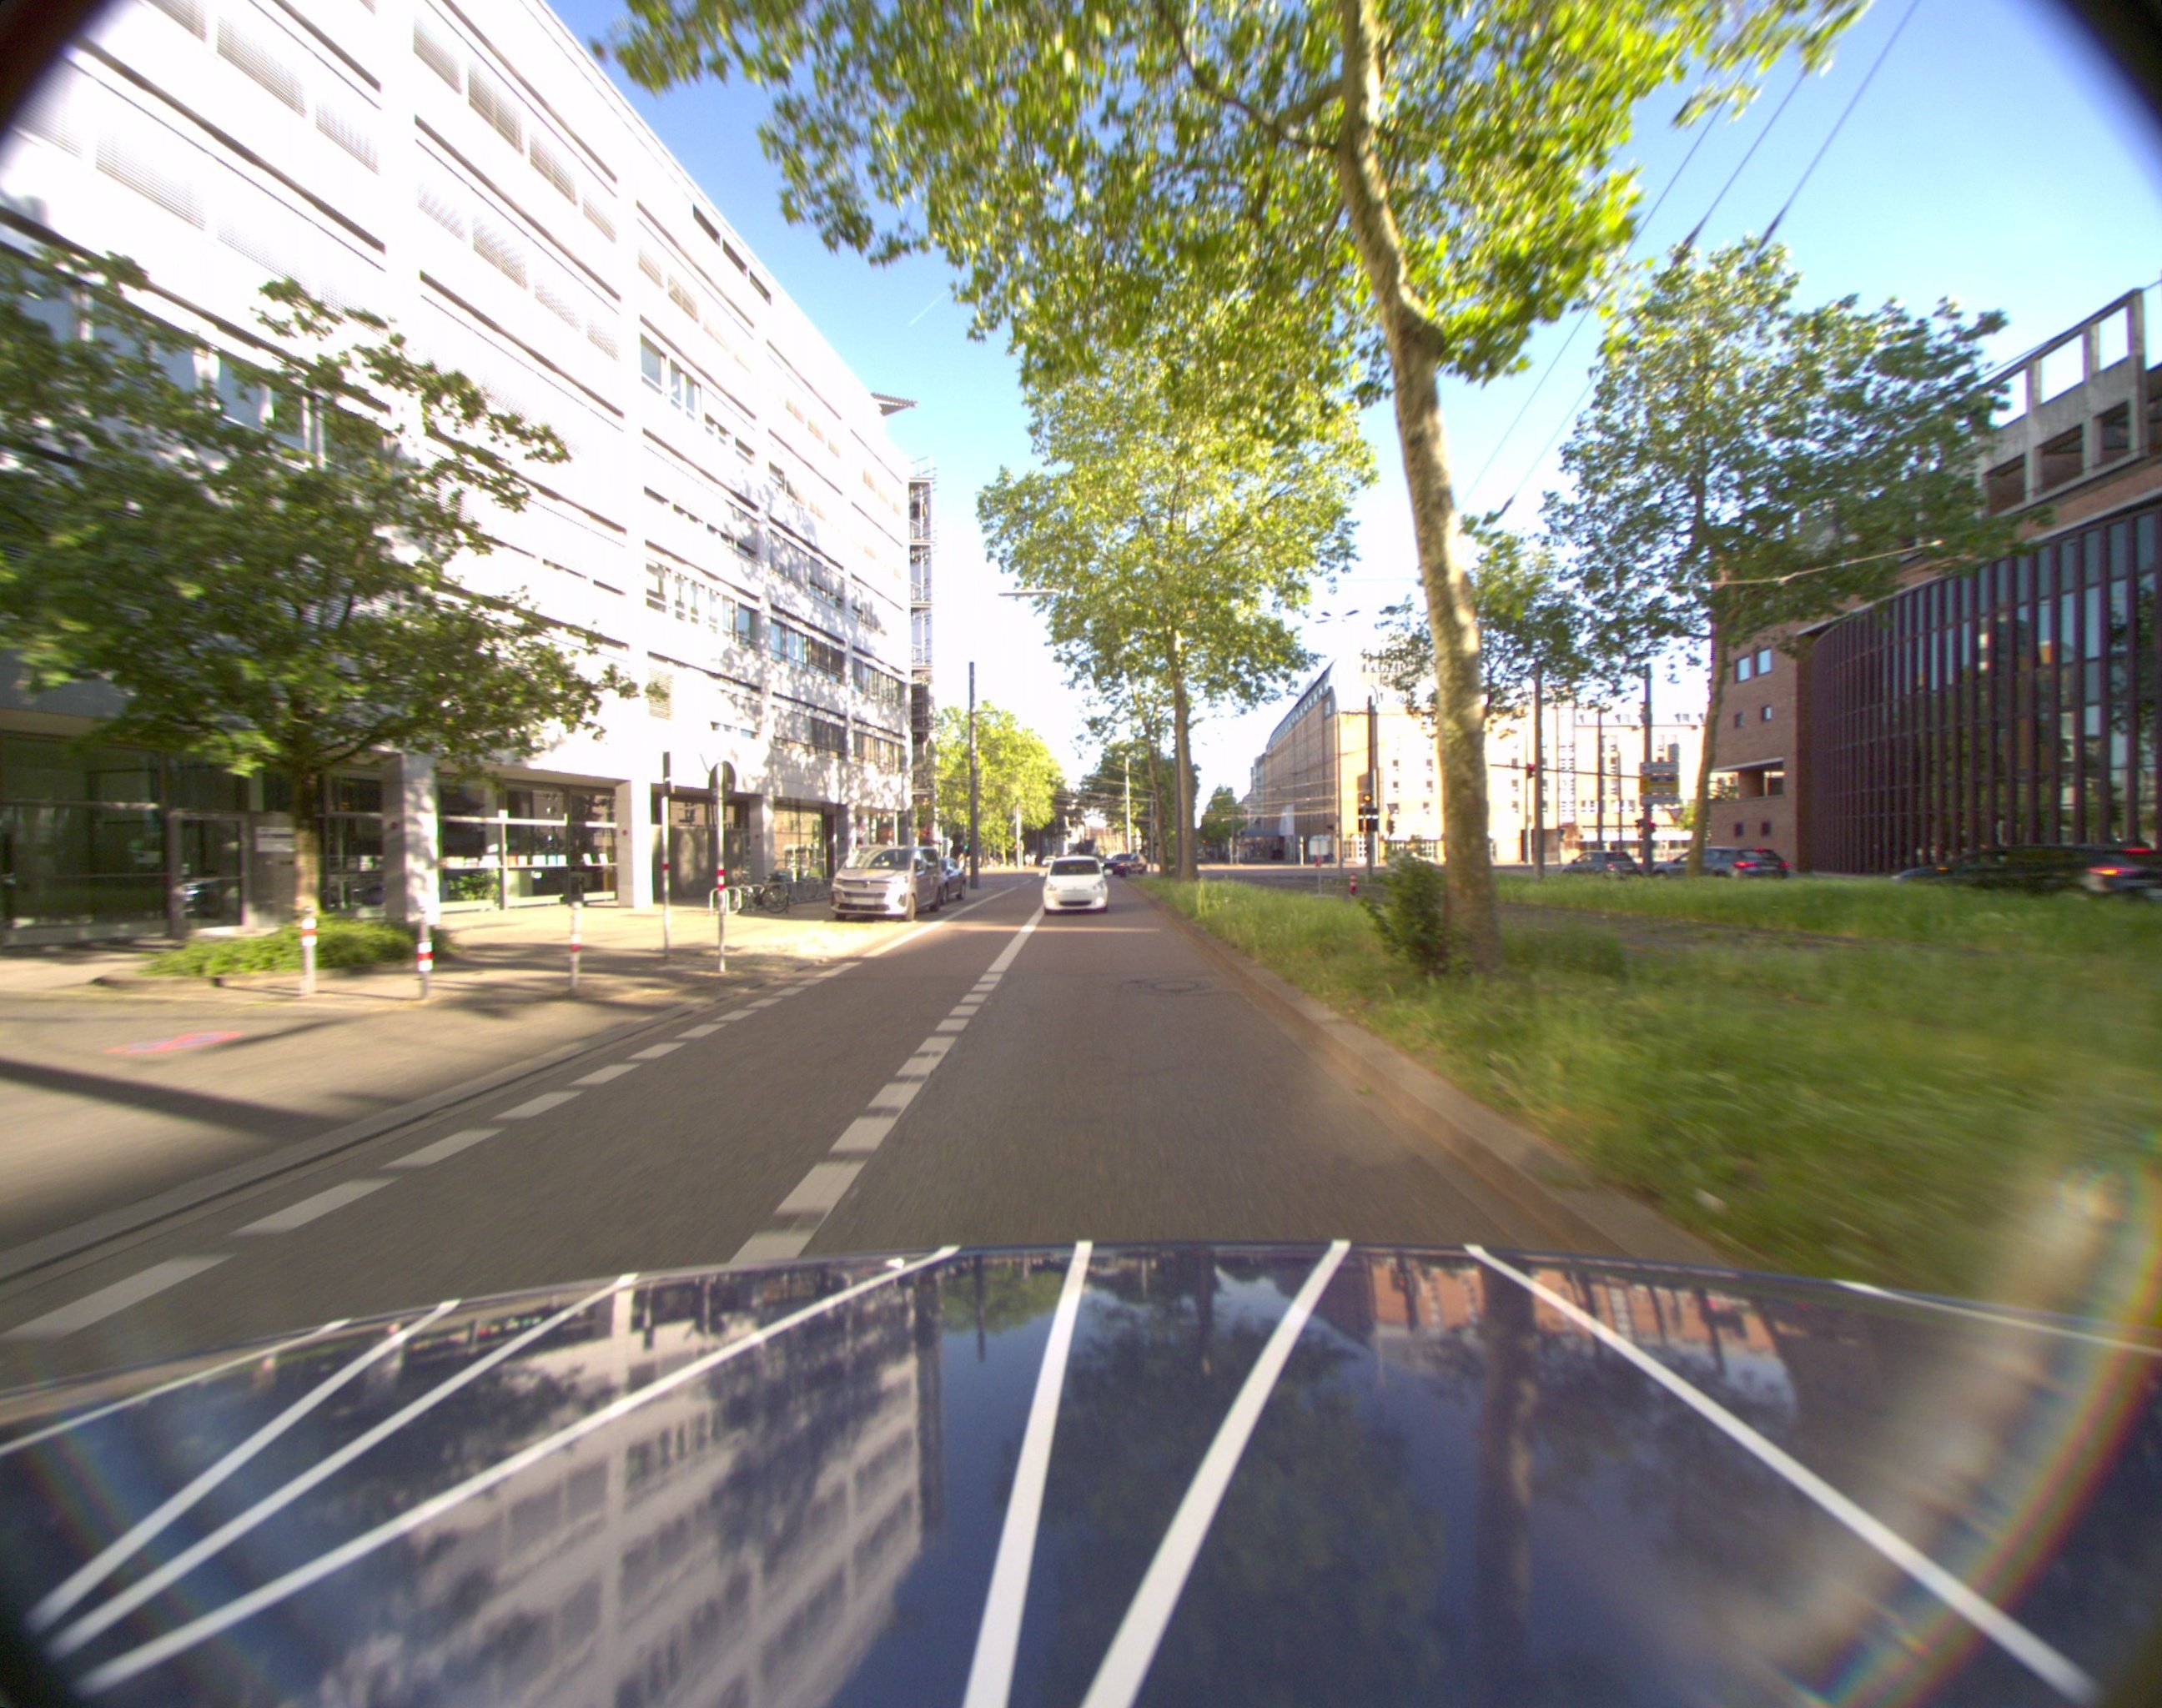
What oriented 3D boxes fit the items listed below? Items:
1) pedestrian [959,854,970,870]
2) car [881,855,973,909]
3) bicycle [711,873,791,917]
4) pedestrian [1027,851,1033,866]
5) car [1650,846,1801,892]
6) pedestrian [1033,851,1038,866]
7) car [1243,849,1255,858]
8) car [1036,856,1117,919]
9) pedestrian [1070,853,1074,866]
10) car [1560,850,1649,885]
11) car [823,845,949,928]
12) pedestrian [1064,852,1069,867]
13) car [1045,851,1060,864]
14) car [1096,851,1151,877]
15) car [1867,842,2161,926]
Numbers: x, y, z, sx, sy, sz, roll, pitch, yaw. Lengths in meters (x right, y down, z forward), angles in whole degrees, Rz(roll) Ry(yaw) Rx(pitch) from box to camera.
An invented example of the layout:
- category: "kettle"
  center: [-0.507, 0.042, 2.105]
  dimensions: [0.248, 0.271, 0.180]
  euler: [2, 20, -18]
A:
- category: "pedestrian"
  center: [-11.825, 0.819, 77.241]
  dimensions: [0.983, 1.610, 0.610]
  euler: [-1, 1, 1]
- category: "car"
  center: [-5.068, 0.881, 25.583]
  dimensions: [1.921, 1.631, 4.019]
  euler: [1, 0, 6]
- category: "bicycle"
  center: [-8.627, 1.060, 19.892]
  dimensions: [1.777, 1.100, 0.666]
  euler: [-1, 0, 0]
- category: "pedestrian"
  center: [-6.986, 0.630, 103.825]
  dimensions: [0.655, 2.002, 0.647]
  euler: [-1, 1, 0]
- category: "car"
  center: [21.985, 0.478, 26.151]
  dimensions: [1.675, 1.420, 4.150]
  euler: [-1, 0, 0]
- category: "pedestrian"
  center: [-6.309, 0.642, 104.394]
  dimensions: [0.614, 2.002, 0.530]
  euler: [-1, 1, 0]
- category: "car"
  center: [31.955, -0.138, 144.328]
  dimensions: [1.703, 1.641, 4.001]
  euler: [-1, 0, 5]
- category: "car"
  center: [-0.012, 0.845, 21.064]
  dimensions: [1.720, 1.442, 4.426]
  euler: [-3, 0, 6]
- category: "pedestrian"
  center: [-1.321, 0.796, 112.375]
  dimensions: [0.653, 2.002, 0.742]
  euler: [-1, 1, 0]
- category: "car"
  center: [22.330, 0.546, 32.544]
  dimensions: [1.617, 1.420, 3.221]
  euler: [-1, 0, 0]
- category: "car"
  center: [-4.914, 0.751, 19.953]
  dimensions: [1.922, 1.893, 4.861]
  euler: [1, 0, 2]
- category: "pedestrian"
  center: [-1.970, 0.784, 102.322]
  dimensions: [0.614, 2.002, 0.530]
  euler: [-1, 1, 0]
- category: "car"
  center: [-3.968, 0.431, 104.828]
  dimensions: [1.865, 1.724, 4.019]
  euler: [-1, 0, 0]
- category: "car"
  center: [2.949, 0.652, 52.052]
  dimensions: [1.995, 1.626, 4.461]
  euler: [-1, 0, 29]
- category: "car"
  center: [18.602, 0.511, 15.143]
  dimensions: [1.617, 1.420, 4.150]
  euler: [-1, 0, 0]
